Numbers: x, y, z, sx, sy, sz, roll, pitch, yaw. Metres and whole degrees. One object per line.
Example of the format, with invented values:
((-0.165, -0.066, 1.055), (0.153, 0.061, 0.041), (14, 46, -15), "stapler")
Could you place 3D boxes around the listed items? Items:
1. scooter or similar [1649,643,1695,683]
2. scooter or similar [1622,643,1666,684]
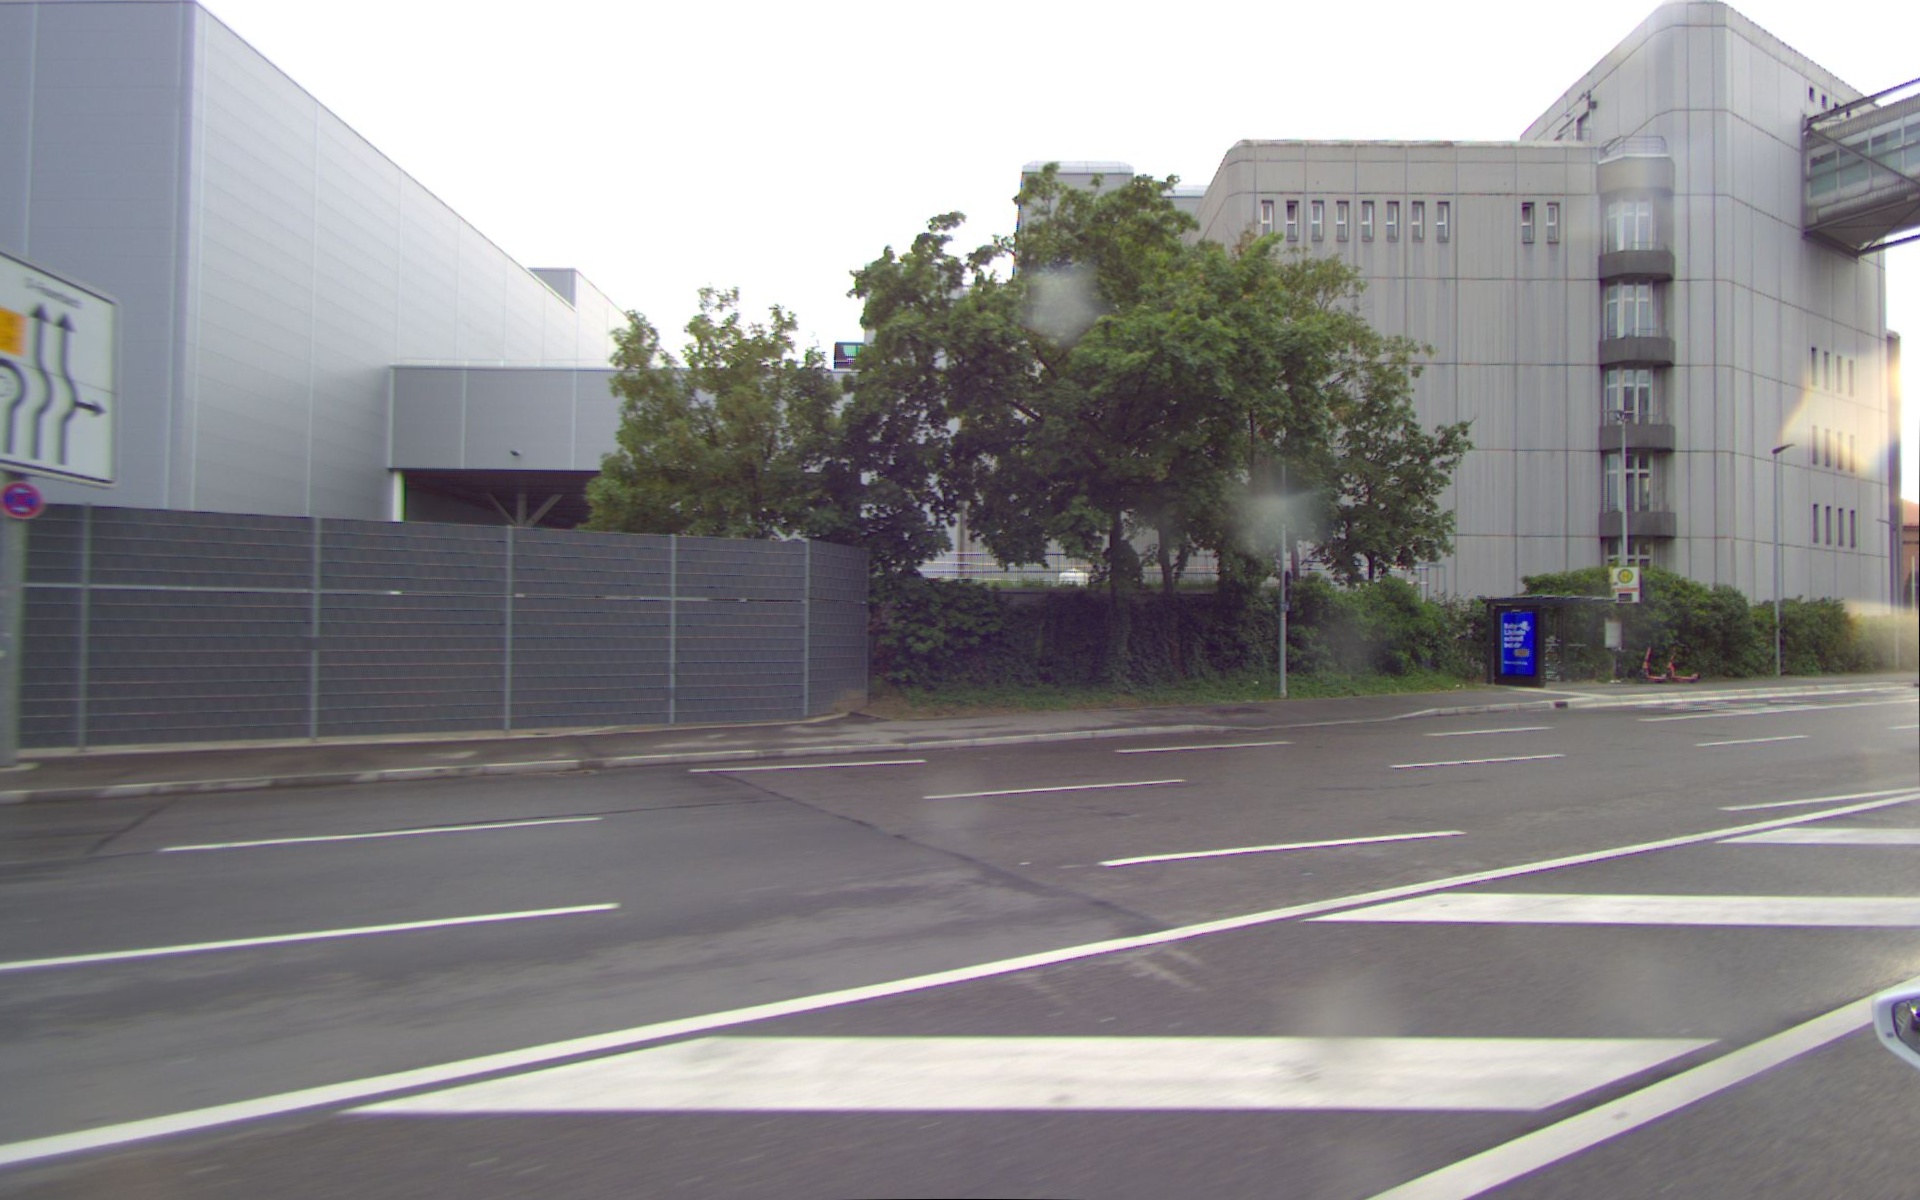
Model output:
((21.812, 1.930, 30.768), (1.355, 1.196, 0.378), (1, -2, -16), "scooter or similar")
((20.584, 1.909, 30.246), (1.230, 1.196, 0.388), (1, -2, -16), "scooter or similar")
